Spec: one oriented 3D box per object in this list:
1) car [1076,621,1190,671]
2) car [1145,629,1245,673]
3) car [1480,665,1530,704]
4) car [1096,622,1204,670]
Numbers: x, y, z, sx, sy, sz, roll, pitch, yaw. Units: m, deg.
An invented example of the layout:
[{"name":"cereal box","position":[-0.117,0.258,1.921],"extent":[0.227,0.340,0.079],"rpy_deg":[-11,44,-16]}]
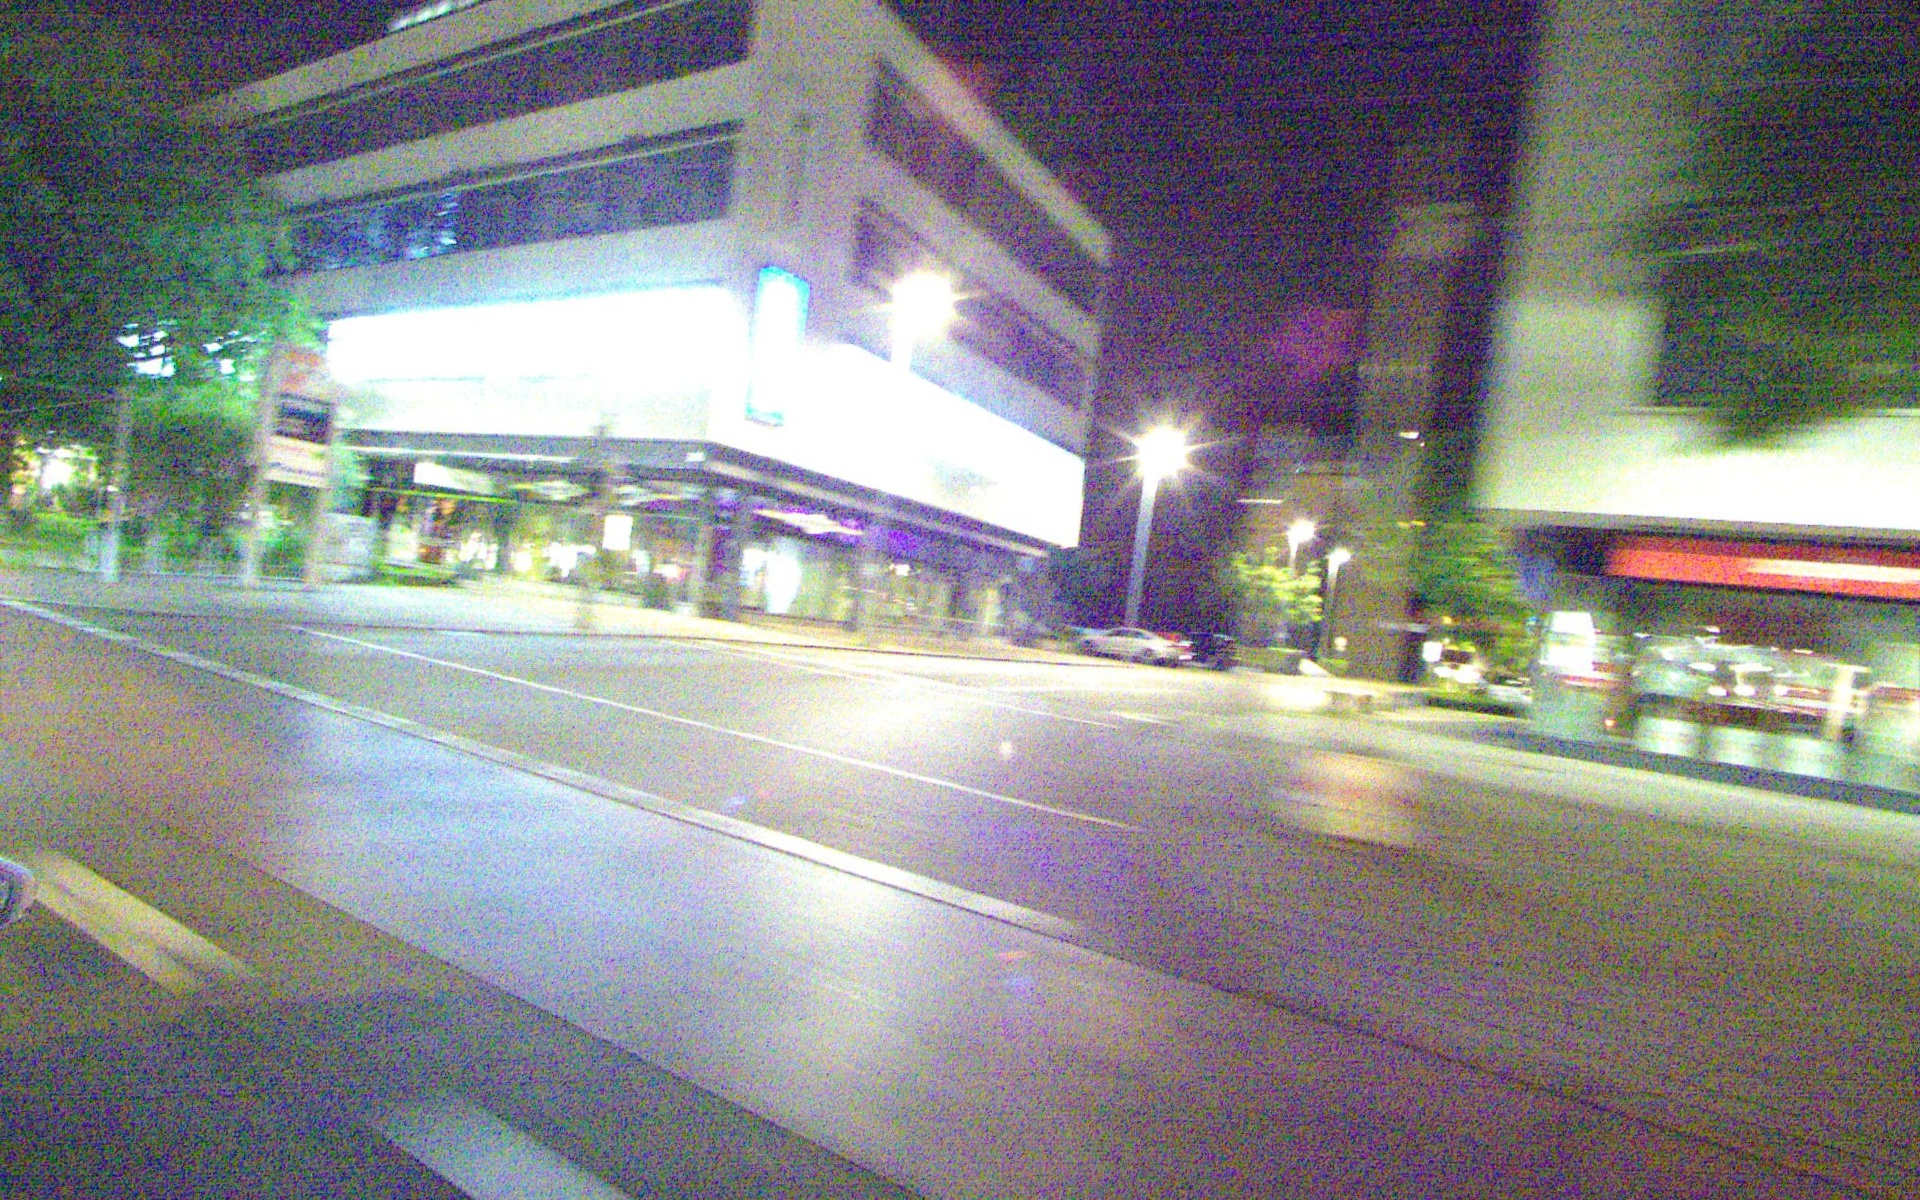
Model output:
[{"name":"car","position":[7.479,1.969,43.543],"extent":[4.311,1.585,1.972],"rpy_deg":[7,0,29]},{"name":"car","position":[11.599,2.524,49.668],"extent":[4.311,1.585,1.972],"rpy_deg":[7,0,29]},{"name":"car","position":[24.661,3.810,45.471],"extent":[1.697,1.468,3.993],"rpy_deg":[7,0,31]},{"name":"car","position":[8.605,2.088,45.656],"extent":[4.311,1.585,1.972],"rpy_deg":[7,0,29]}]
